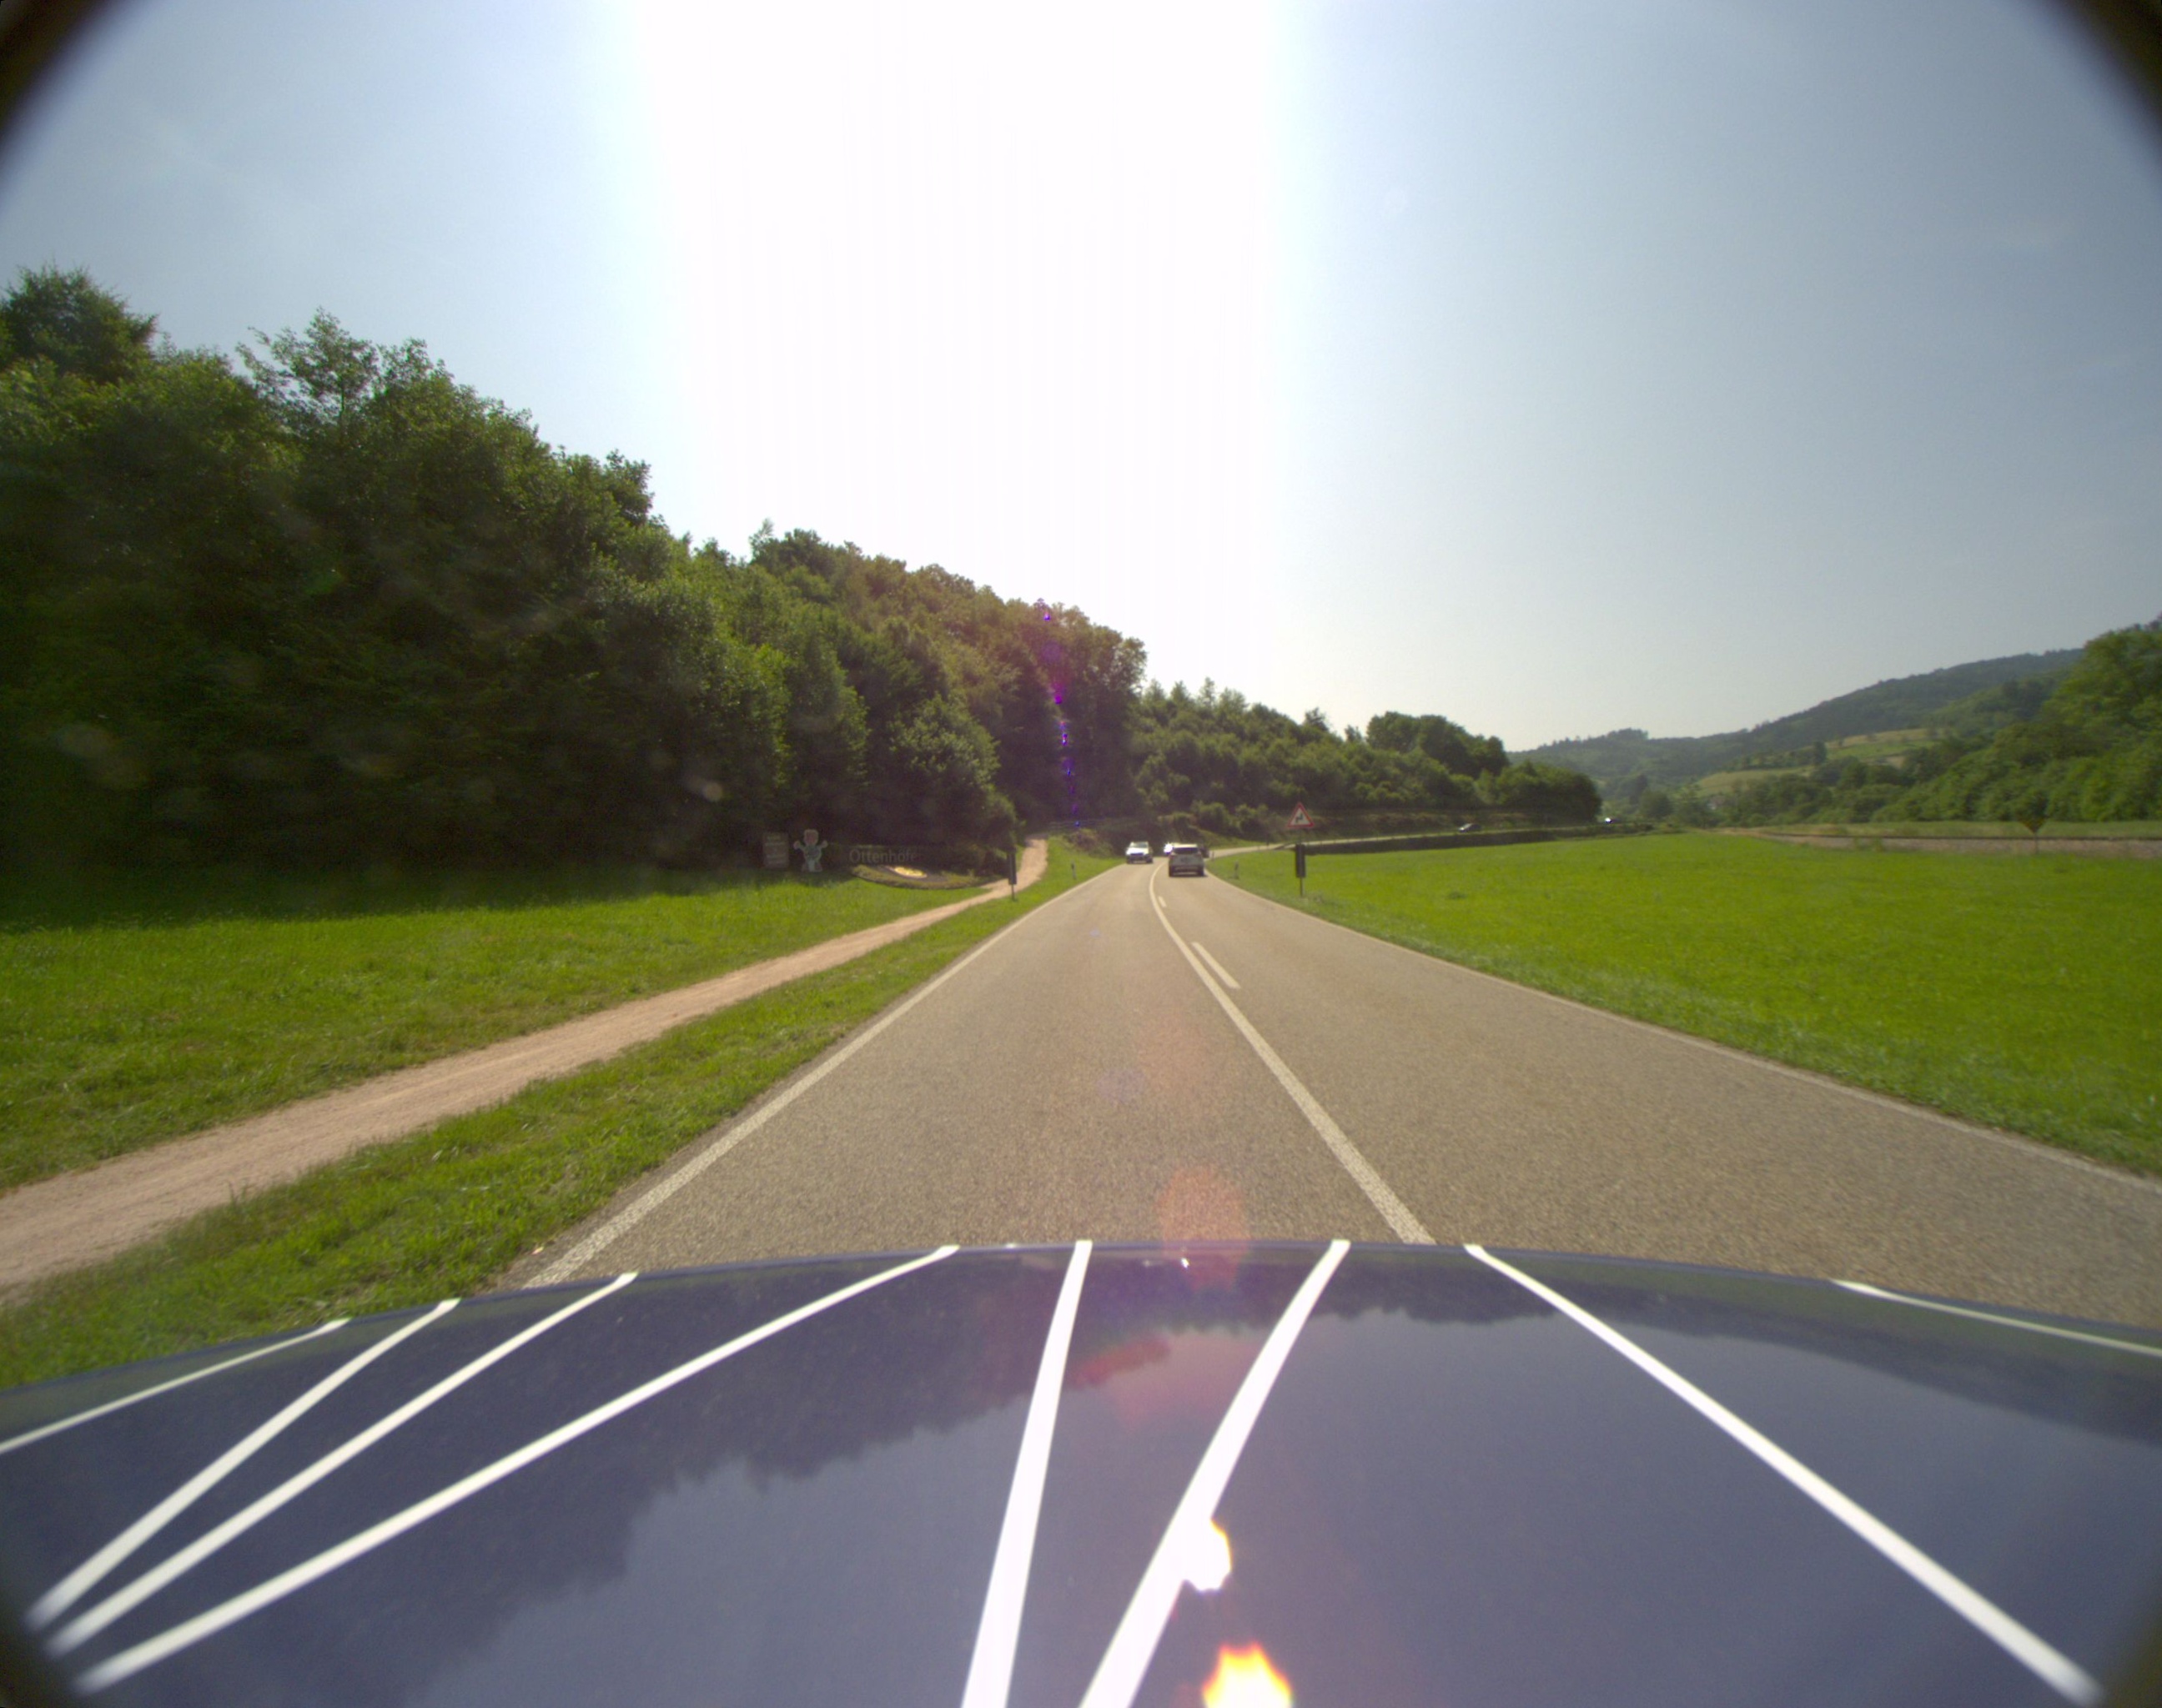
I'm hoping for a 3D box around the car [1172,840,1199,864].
[{"bbox_3d":[7.704,-0.152,55.924,1.869,1.614,4.512,-2,1,8],"label":"car"}]

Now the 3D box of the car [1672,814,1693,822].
[{"bbox_3d":[137.109,-8.193,173.087,4.902,1.730,1.951,-2,2,-27],"label":"car"}]

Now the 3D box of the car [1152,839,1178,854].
[{"bbox_3d":[9.152,-0.819,82.685,2.143,1.482,4.678,2,0,15],"label":"car"}]

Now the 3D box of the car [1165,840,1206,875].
[{"bbox_3d":[5.562,0.181,40.776,1.919,1.704,4.161,-2,0,5],"label":"car"}]

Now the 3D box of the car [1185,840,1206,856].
[{"bbox_3d":[12.059,-0.651,79.637,1.919,1.462,4.513,1,2,12],"label":"car"}]

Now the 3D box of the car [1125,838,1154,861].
[{"bbox_3d":[5.000,-0.383,64.213,2.116,1.804,4.458,-2,0,9],"label":"car"}]
